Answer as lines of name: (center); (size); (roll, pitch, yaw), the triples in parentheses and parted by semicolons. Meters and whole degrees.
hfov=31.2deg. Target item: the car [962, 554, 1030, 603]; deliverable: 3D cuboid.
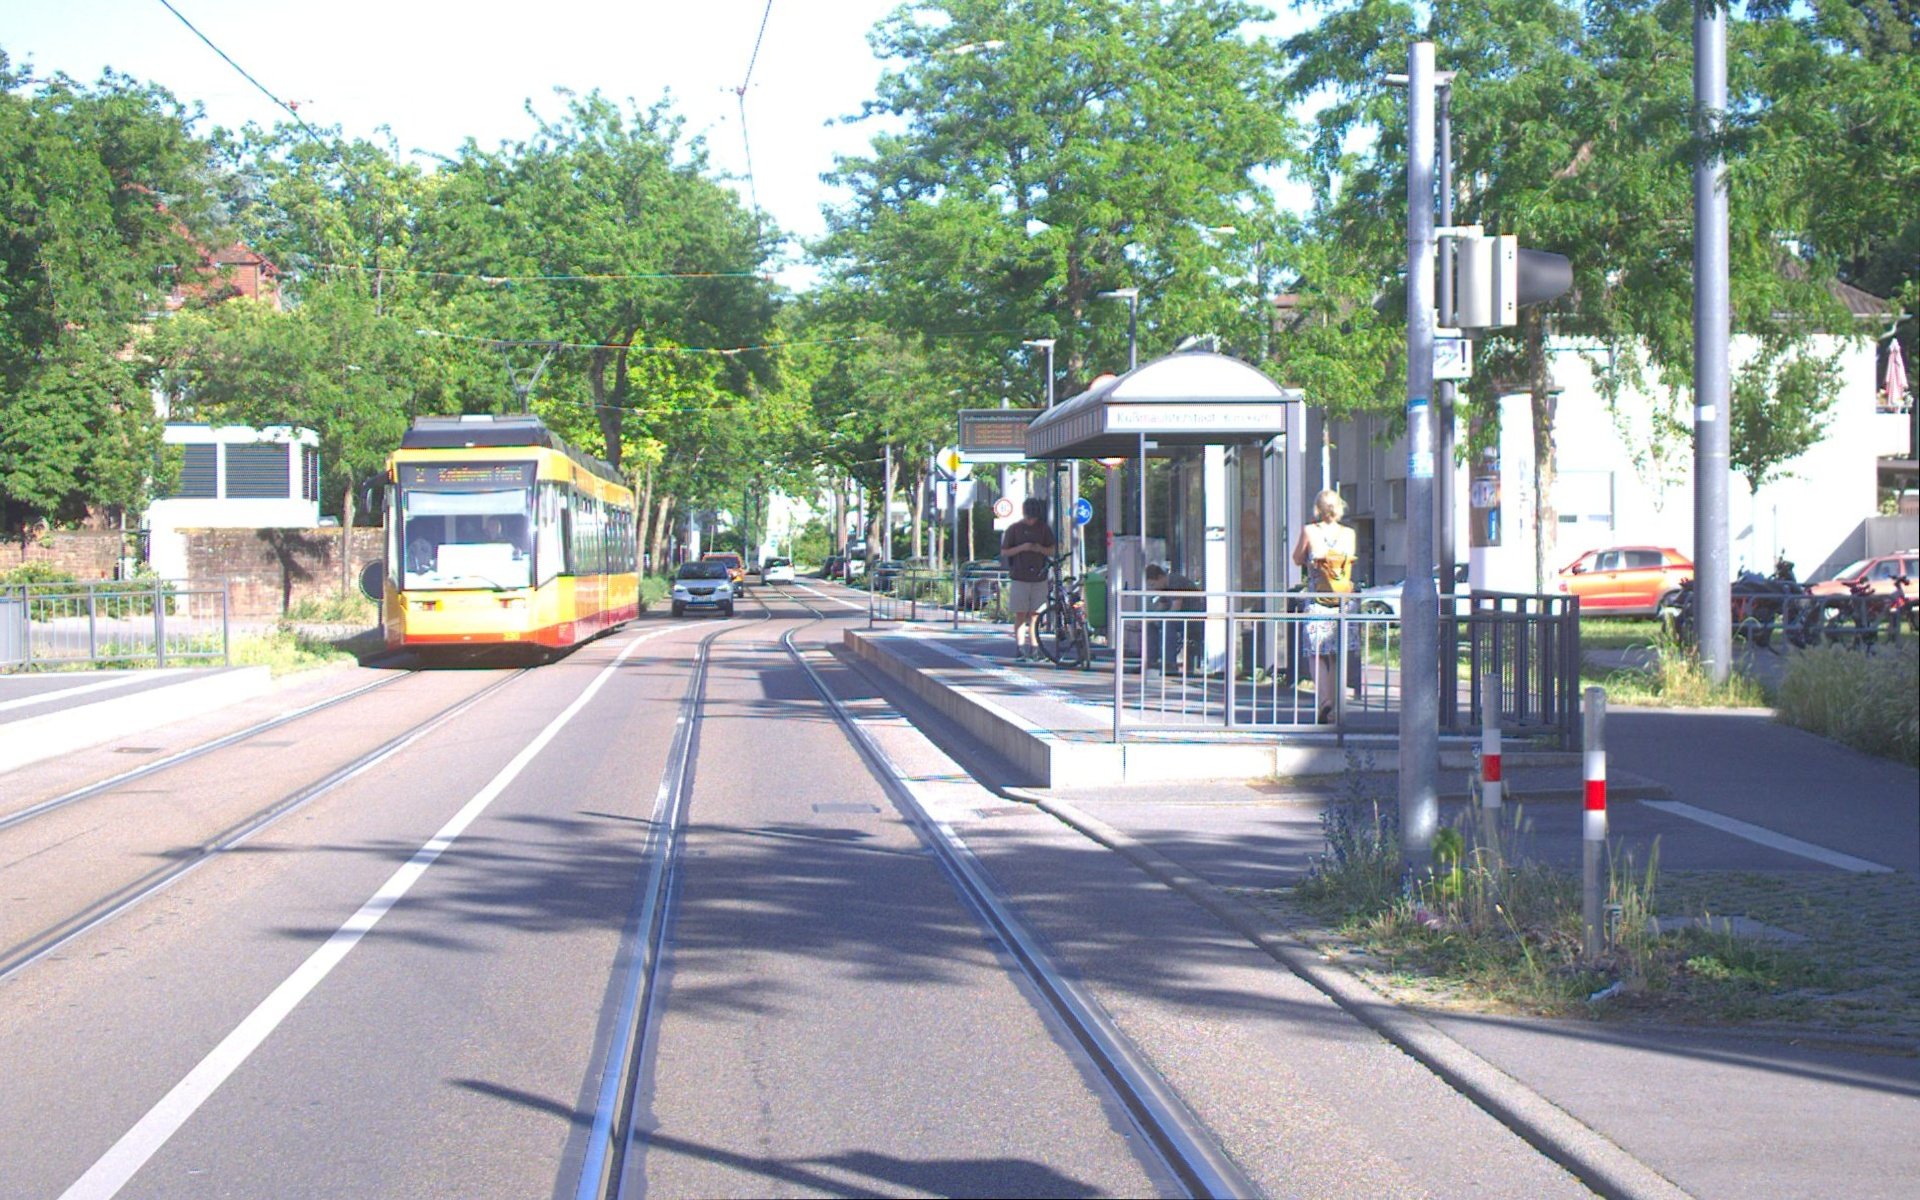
car: (1.090, -0.686, 107.415); (1.748, 1.490, 4.444); (-1, 1, -4)

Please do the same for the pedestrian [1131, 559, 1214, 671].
pedestrian: (2.164, 0.147, 35.035); (0.738, 1.113, 0.658); (1, 1, -4)

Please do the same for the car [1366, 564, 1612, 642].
car: (10.295, 0.066, 67.154); (4.604, 1.461, 1.981); (0, -1, 5)

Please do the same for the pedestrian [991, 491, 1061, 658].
pedestrian: (0.734, -0.287, 38.589); (0.711, 1.847, 0.729); (1, 1, -2)

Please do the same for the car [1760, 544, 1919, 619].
car: (18.701, -0.391, 70.205); (4.161, 1.503, 1.983); (0, 1, -10)

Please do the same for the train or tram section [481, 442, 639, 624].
train or tram section: (-7.940, -1.330, 68.918); (2.803, 3.448, 6.669); (0, 1, -4)

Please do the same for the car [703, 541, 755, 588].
car: (-9.915, -1.540, 147.577); (1.993, 1.959, 4.935); (0, 1, -6)

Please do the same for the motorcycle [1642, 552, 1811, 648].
motorcycle: (10.461, -0.005, 46.943); (2.077, 1.270, 0.862); (-1, 1, -10)

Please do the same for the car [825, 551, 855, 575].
car: (-8.800, -2.713, 252.936); (2.003, 1.669, 4.392); (-2, 1, 0)

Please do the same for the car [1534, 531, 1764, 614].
car: (13.902, -0.561, 69.539); (4.162, 1.636, 1.982); (0, 1, -5)

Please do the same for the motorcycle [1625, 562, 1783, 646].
motorcycle: (10.499, 0.054, 48.556); (1.998, 1.154, 0.862); (-1, 1, -10)

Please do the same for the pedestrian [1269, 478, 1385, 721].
pedestrian: (2.611, -0.006, 24.527); (0.671, 1.698, 0.691); (1, 1, -5)

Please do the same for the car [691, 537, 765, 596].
car: (-6.676, -0.971, 99.420); (1.765, 1.658, 4.210); (-1, 1, 1)

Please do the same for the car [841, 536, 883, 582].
car: (-5.787, -2.416, 203.147); (2.245, 2.645, 5.586); (0, 1, -4)

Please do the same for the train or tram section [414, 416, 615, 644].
train or tram section: (-7.103, -1.112, 55.568); (2.803, 3.448, 6.669); (0, 1, -4)

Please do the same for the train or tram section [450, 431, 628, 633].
train or tram section: (-7.533, -1.218, 62.249); (2.803, 3.448, 6.669); (0, 1, -4)

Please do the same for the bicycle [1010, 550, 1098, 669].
bicycle: (0.977, 0.085, 36.209); (0.619, 1.225, 1.967); (0, 1, -8)

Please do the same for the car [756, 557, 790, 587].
car: (-10.709, -1.621, 196.565); (1.865, 1.669, 4.173); (-1, 1, -4)

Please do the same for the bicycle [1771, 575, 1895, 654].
bicycle: (11.056, 0.184, 43.539); (1.469, 0.975, 0.416); (-1, 1, -10)

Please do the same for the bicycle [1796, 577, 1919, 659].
bicycle: (11.230, 0.209, 42.059); (1.897, 0.975, 0.491); (-1, 1, -10)

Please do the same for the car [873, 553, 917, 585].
car: (-3.271, -1.564, 172.333); (1.783, 1.443, 4.302); (-3, 1, -5)

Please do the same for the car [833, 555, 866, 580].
car: (-7.565, -2.229, 235.528); (2.002, 1.669, 4.393); (-2, 1, -4)

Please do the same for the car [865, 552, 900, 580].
car: (-4.115, -1.818, 182.037); (1.627, 1.393, 3.646); (-3, 1, -4)

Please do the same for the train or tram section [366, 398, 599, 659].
train or tram section: (-6.673, -0.998, 48.887); (2.803, 3.448, 6.669); (0, 1, -4)
